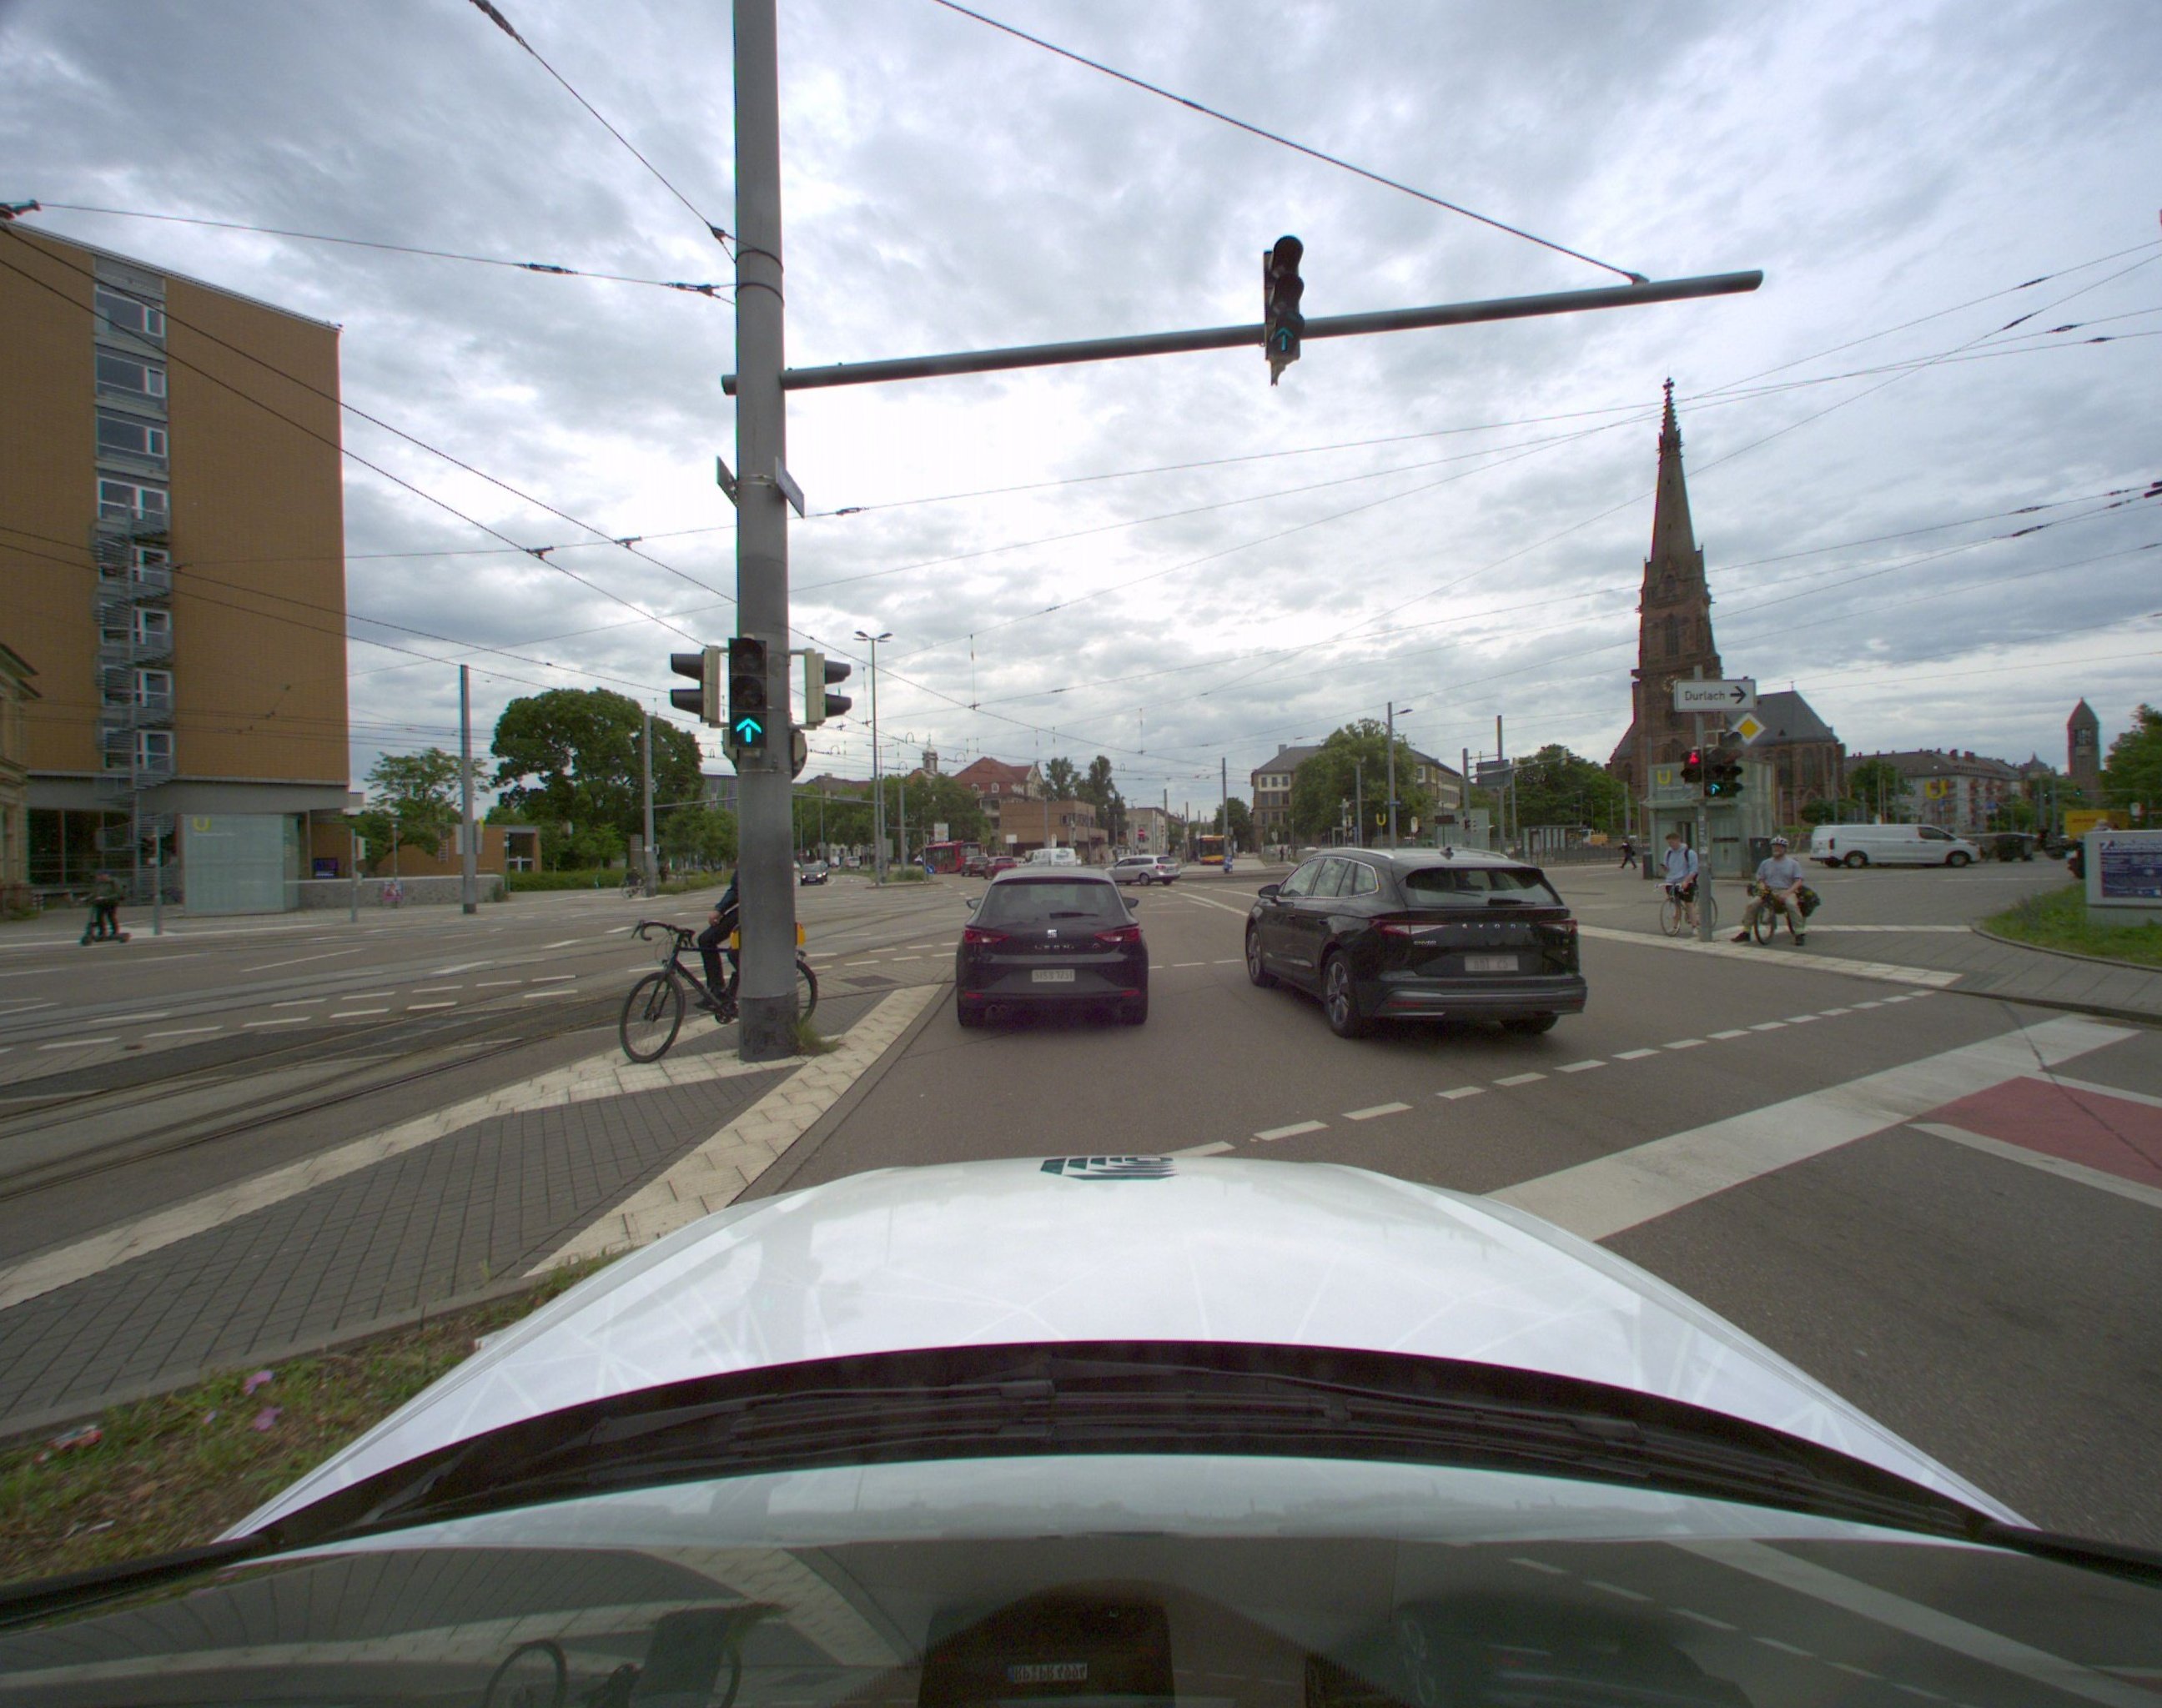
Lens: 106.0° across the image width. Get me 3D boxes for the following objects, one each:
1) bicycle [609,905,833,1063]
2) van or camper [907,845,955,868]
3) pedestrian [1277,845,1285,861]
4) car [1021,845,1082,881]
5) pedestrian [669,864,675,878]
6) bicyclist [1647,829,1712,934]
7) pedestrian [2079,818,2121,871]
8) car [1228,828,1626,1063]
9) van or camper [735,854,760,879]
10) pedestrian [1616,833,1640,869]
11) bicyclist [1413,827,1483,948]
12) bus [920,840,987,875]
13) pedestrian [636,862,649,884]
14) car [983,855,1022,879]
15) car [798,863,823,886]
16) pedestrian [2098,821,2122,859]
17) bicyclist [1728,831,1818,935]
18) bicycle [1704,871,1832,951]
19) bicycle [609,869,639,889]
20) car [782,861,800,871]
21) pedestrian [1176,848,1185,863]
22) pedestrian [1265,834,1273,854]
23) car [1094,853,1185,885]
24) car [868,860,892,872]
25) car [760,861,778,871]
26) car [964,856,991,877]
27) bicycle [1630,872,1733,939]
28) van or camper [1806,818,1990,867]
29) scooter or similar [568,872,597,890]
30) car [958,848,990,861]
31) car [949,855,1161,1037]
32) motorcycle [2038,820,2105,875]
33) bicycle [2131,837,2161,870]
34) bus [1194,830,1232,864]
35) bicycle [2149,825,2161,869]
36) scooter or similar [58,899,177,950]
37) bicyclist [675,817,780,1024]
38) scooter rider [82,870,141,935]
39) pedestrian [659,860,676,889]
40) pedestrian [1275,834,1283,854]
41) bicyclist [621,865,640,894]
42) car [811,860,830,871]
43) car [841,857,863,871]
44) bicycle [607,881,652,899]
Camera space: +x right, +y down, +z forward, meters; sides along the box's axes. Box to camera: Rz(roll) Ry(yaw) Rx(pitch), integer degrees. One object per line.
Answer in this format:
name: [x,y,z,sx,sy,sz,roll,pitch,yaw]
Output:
bicycle: [-2.988,1.022,6.850,1.622,1.070,0.522,-2,0,-39]
van or camper: [-24.183,0.369,131.805,7.194,3.332,2.841,-2,-1,-44]
pedestrian: [23.193,-0.130,94.418,0.817,1.853,1.025,-2,0,16]
car: [-1.846,0.557,49.224,2.002,2.019,4.993,-2,0,-23]
pedestrian: [-46.157,1.960,91.881,0.564,1.541,0.749,-1,-1,-23]
bicyclist: [10.460,0.463,14.235,0.736,1.751,0.581,-3,0,-26]
pedestrian: [34.480,-0.320,27.557,0.910,1.737,0.804,-2,0,-34]
car: [2.970,0.667,8.252,1.899,1.658,4.510,-2,0,-3]
van or camper: [-37.045,1.386,90.396,2.290,2.527,5.528,-3,0,-24]
pedestrian: [25.939,-0.151,38.604,0.892,1.643,0.789,-2,-1,35]
bicyclist: [5.336,0.474,11.888,0.614,1.690,0.805,-2,0,-2]
bus: [-13.074,0.413,82.102,3.075,3.297,12.270,-1,0,-27]
pedestrian: [-35.702,1.537,66.296,0.748,1.733,0.683,-2,0,-14]
car: [-5.650,0.922,58.037,1.863,1.600,4.178,-2,0,-19]
car: [-19.602,1.449,59.131,1.623,1.515,3.642,-3,0,-18]
pedestrian: [48.659,-0.662,38.524,0.829,1.715,0.610,-2,0,-43]
bicyclist: [10.797,0.438,12.715,0.886,1.521,0.667,-4,1,-20]
bicycle: [10.709,0.861,12.683,1.947,0.998,0.598,-5,1,-20]
bicycle: [-35.936,1.979,64.088,0.842,1.449,2.258,-2,0,6]
car: [-49.171,2.077,138.000,2.008,1.640,3.957,-2,0,-35]
pedestrian: [11.842,0.165,97.201,0.817,1.808,1.025,-2,0,16]
pedestrian: [40.556,-2.170,175.750,1.382,4.253,1.347,-2,0,1]
car: [2.866,0.764,40.772,1.736,1.482,4.572,-3,1,-43]
car: [-26.684,1.581,107.944,2.006,1.539,3.961,-2,0,-30]
car: [-56.959,2.148,148.654,2.010,1.772,3.953,-1,0,-39]
car: [-8.580,1.006,67.221,1.993,1.566,4.191,-2,0,-10]
bicycle: [10.521,0.872,14.262,1.997,0.998,0.575,-3,1,-26]
van or camper: [36.415,-0.480,36.522,5.403,1.978,2.183,-2,0,19]
scooter or similar: [-37.528,2.013,61.350,1.782,1.302,0.624,-2,0,-31]
car: [-18.057,0.081,137.480,5.033,1.864,1.975,-2,-3,-43]
car: [-0.317,0.757,8.744,1.742,1.464,3.995,-1,0,-3]
motorcycle: [26.325,-0.177,21.680,2.305,1.366,1.034,-3,0,-41]
bicycle: [39.654,-0.021,30.267,2.049,1.169,0.662,-2,0,-35]
bus: [14.324,-0.750,87.594,2.995,3.268,13.090,-2,0,13]
bicycle: [35.345,-0.262,26.150,2.792,1.377,0.895,-2,0,-30]
scooter or similar: [-25.118,1.818,21.277,0.567,1.165,1.917,-2,0,22]
bicyclist: [-2.980,0.526,6.867,0.658,1.639,0.512,-2,-1,-39]
scooter rider: [-25.193,1.240,21.163,0.562,1.627,0.826,-2,0,22]
pedestrian: [-29.113,1.421,57.335,0.820,1.980,0.655,-2,0,-14]
pedestrian: [42.788,-2.075,175.799,1.302,4.253,1.347,-2,0,1]
bicyclist: [-26.229,1.503,47.416,0.814,1.656,0.789,1,0,-17]
car: [-43.384,1.883,135.538,2.008,1.750,3.958,-2,0,-34]
car: [-34.023,1.503,120.878,2.007,2.013,3.959,-2,0,-32]
bicycle: [-26.270,2.082,47.401,2.117,1.028,0.791,0,-1,-16]
